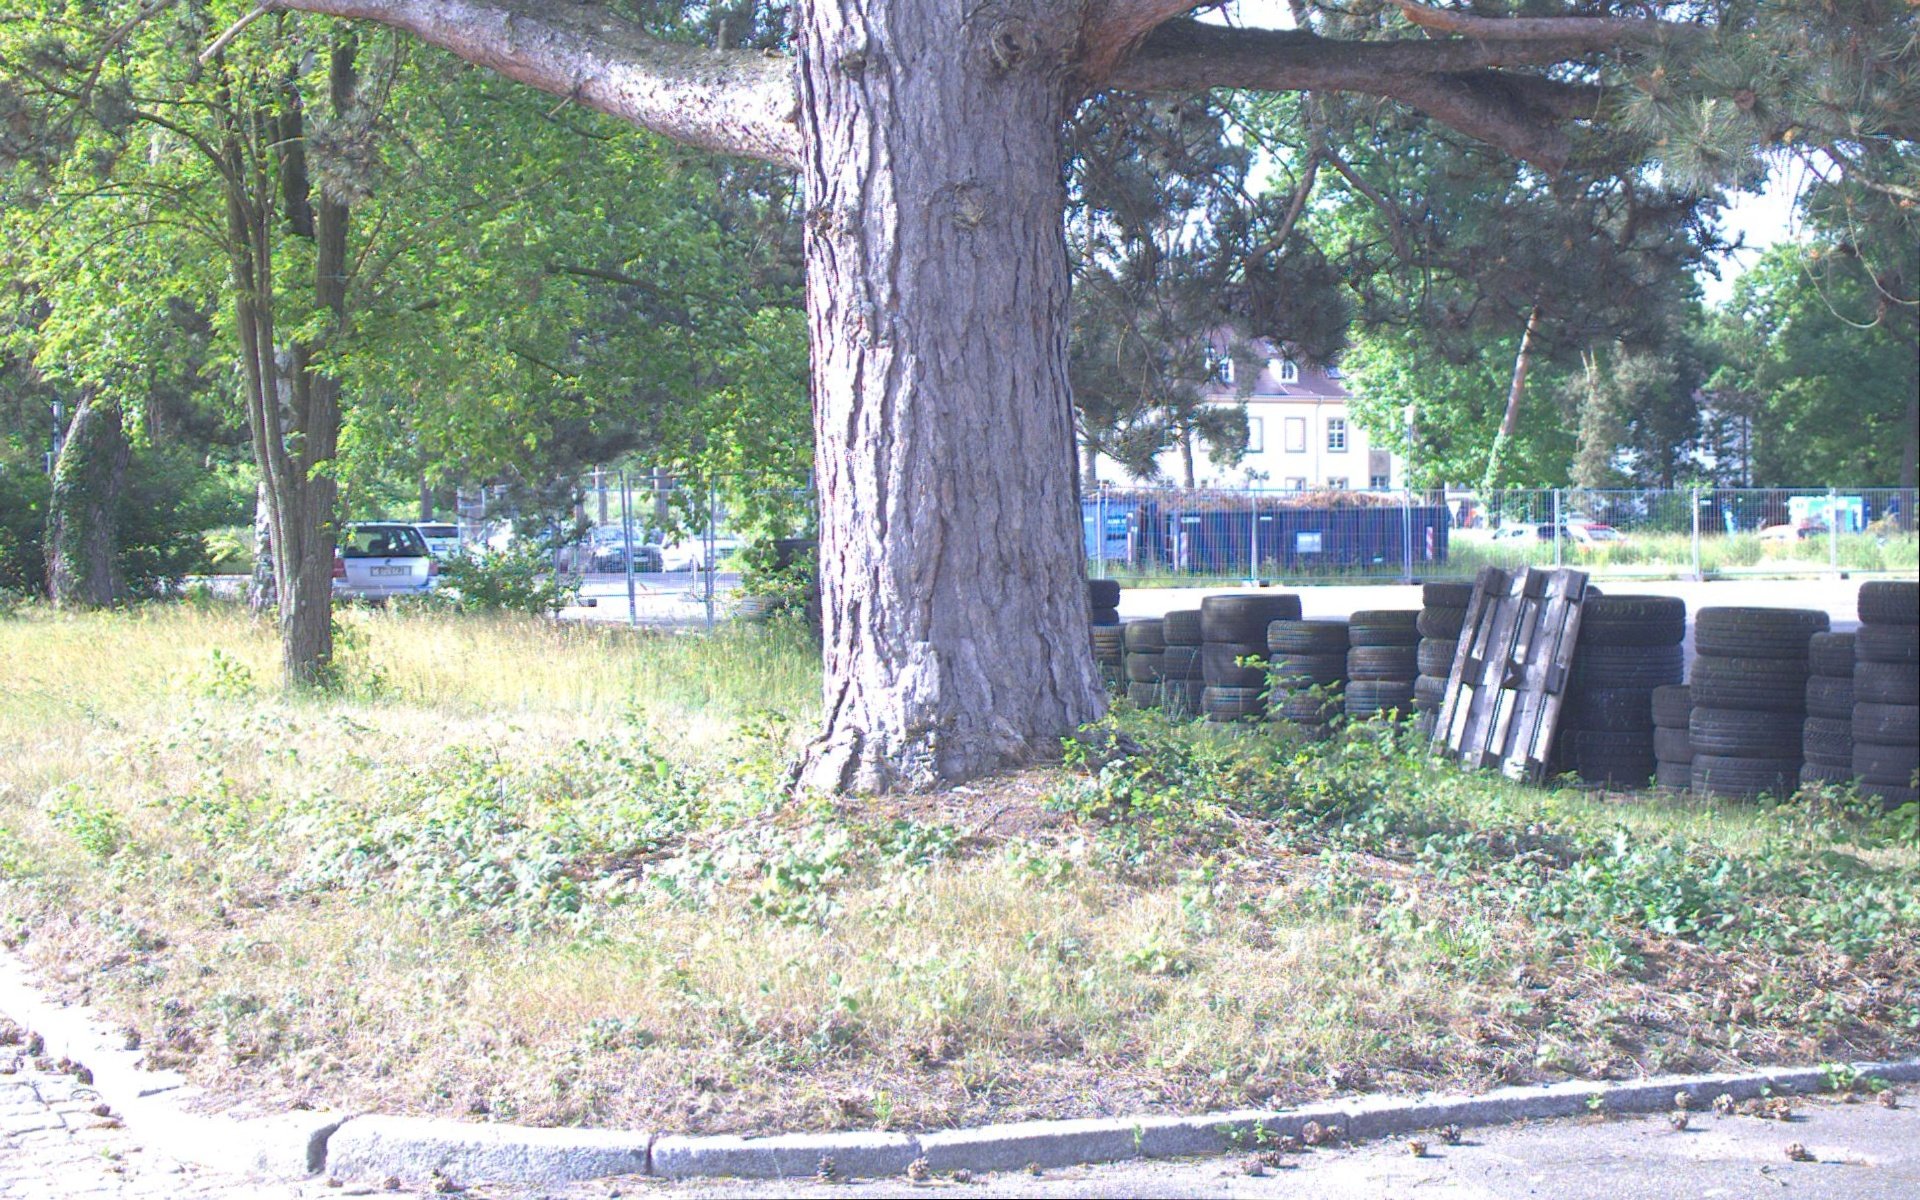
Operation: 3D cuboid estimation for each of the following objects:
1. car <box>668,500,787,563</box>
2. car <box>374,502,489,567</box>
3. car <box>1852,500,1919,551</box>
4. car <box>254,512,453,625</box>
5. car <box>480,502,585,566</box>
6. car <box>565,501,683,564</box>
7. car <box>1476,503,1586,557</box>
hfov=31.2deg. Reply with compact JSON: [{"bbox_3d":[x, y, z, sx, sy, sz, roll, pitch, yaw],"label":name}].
[{"bbox_3d":[-6.187,-1.822,91.075,1.993,1.612,4.001,-1,2,-22],"label":"car"},{"bbox_3d":[-13.438,-1.674,87.238,1.993,1.612,4.001,-1,2,-22],"label":"car"},{"bbox_3d":[32.640,-2.569,118.405,1.993,1.744,4.001,0,1,-15],"label":"car"},{"bbox_3d":[-8.644,-0.476,48.785,1.886,1.535,4.001,0,1,-24],"label":"car"},{"bbox_3d":[-11.034,-1.705,88.485,1.820,1.612,4.001,-1,2,-20],"label":"car"},{"bbox_3d":[-8.794,-1.775,89.696,1.993,1.612,4.001,-1,2,-22],"label":"car"},{"bbox_3d":[18.728,-2.300,112.881,1.993,1.744,4.001,-1,1,-17],"label":"car"}]
